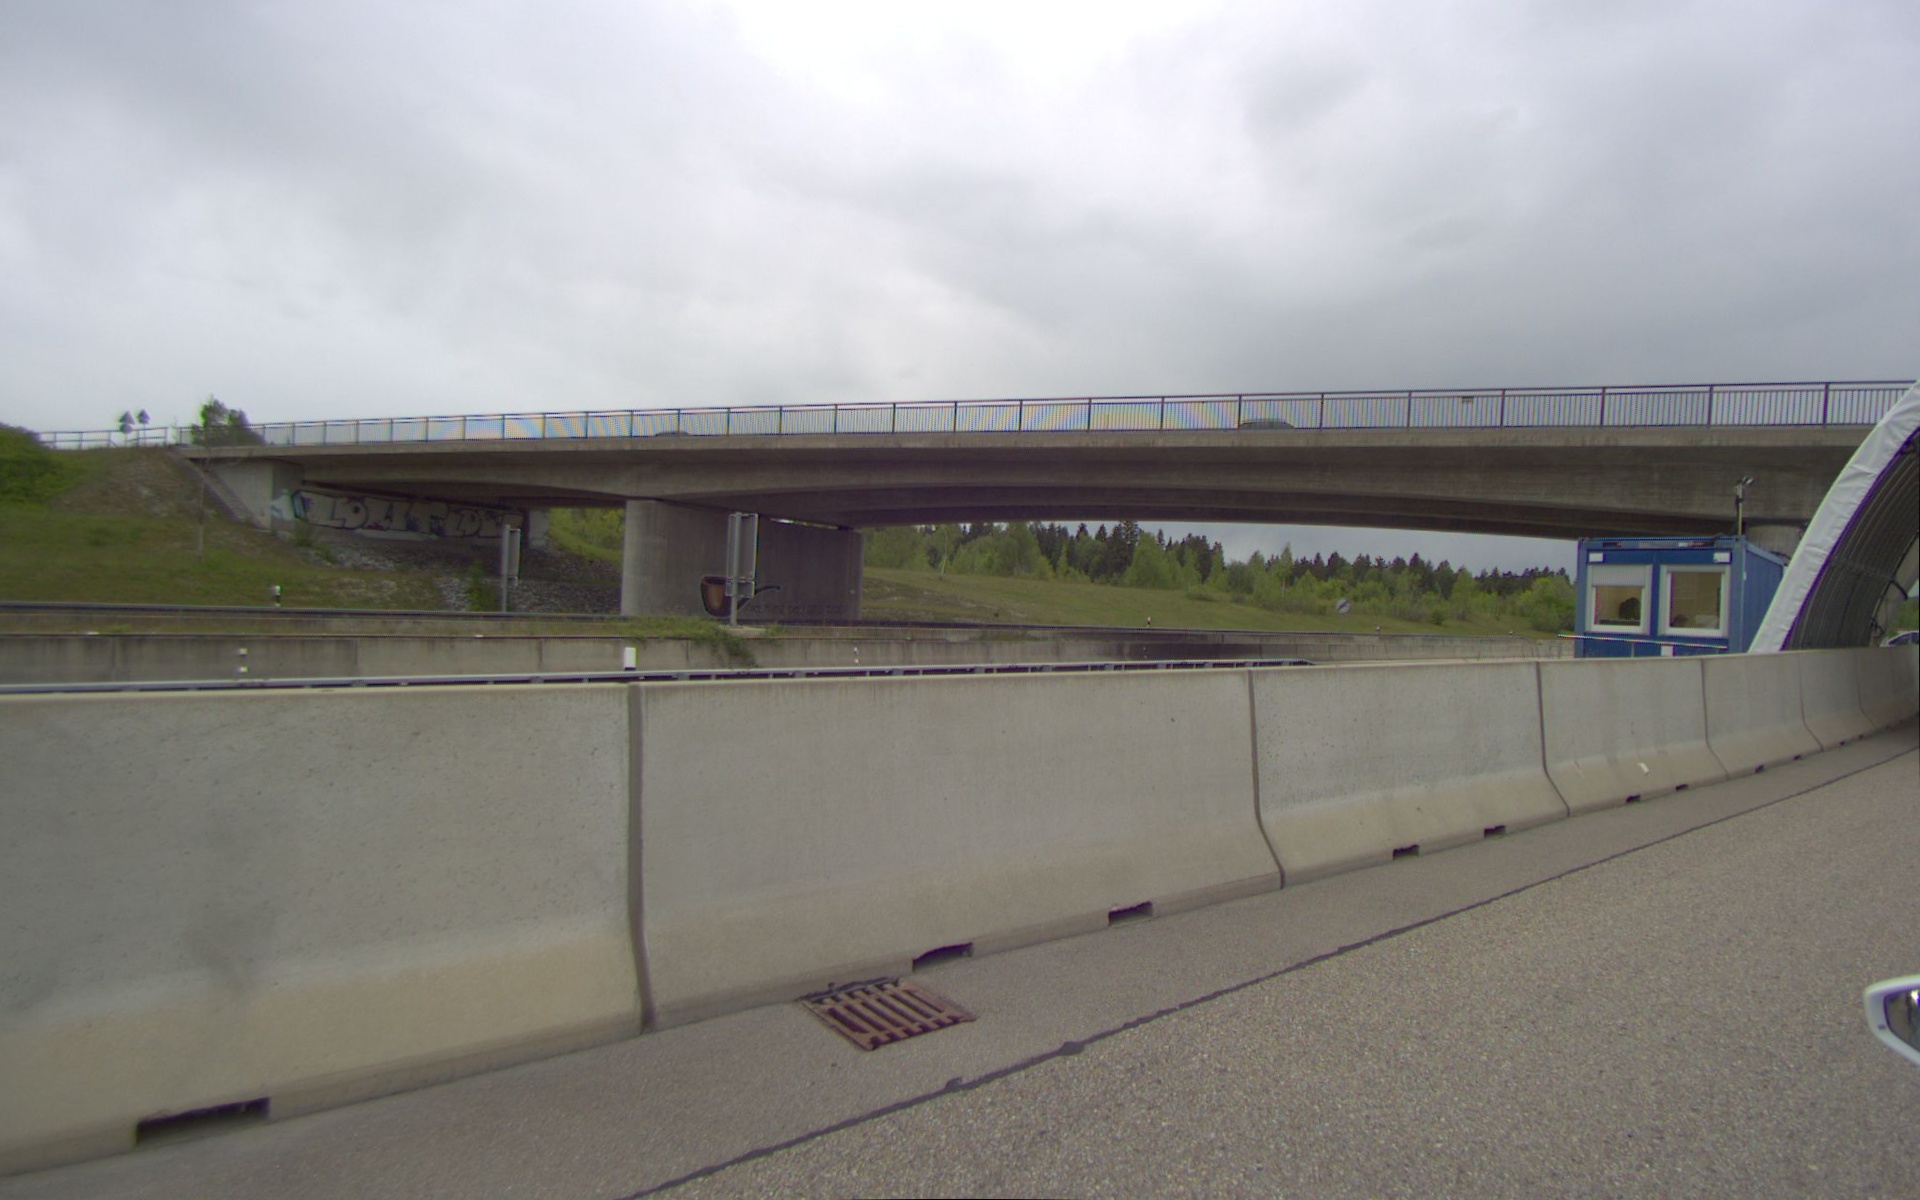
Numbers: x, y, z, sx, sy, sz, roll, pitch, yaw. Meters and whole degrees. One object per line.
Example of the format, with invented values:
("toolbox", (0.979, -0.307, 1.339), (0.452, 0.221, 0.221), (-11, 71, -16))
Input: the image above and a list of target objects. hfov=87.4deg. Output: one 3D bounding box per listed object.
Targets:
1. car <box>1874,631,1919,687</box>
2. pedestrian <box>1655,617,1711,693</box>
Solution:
("car", (36.651, 2.205, 36.488), (1.814, 2.040, 4.797), (2, -1, -22))
("pedestrian", (13.588, 1.020, 18.871), (0.618, 1.391, 0.609), (2, -1, -21))
